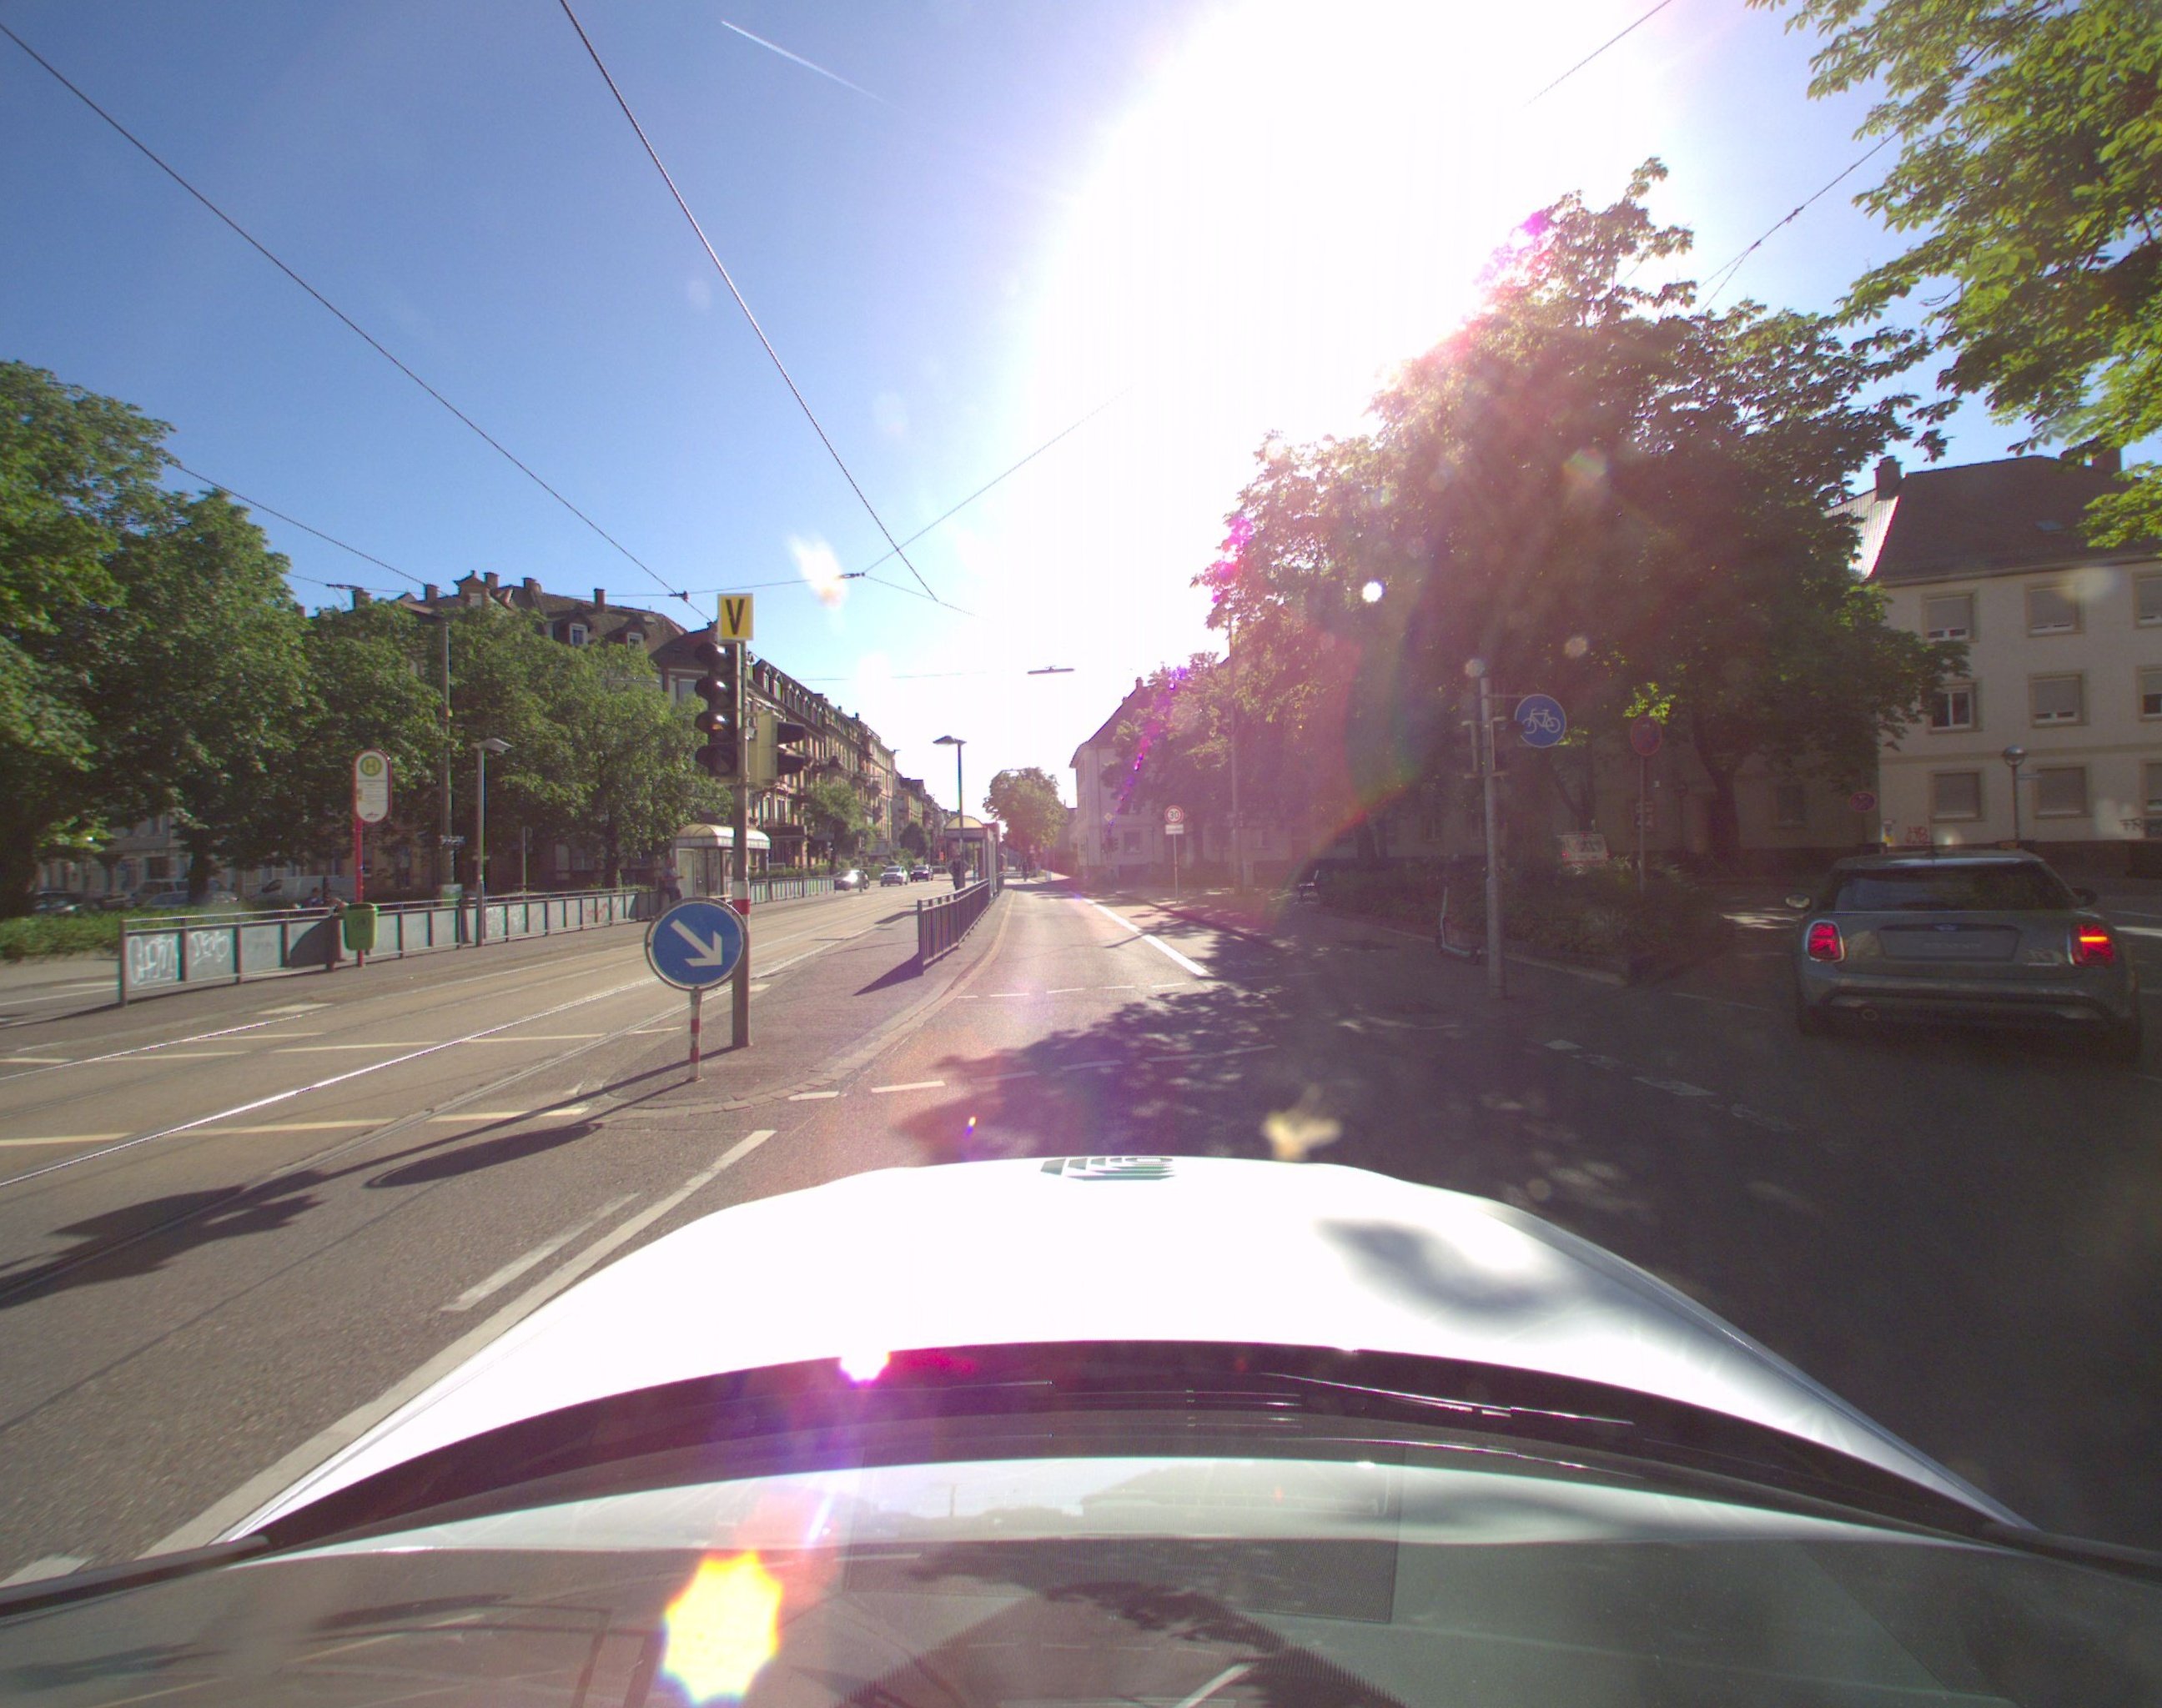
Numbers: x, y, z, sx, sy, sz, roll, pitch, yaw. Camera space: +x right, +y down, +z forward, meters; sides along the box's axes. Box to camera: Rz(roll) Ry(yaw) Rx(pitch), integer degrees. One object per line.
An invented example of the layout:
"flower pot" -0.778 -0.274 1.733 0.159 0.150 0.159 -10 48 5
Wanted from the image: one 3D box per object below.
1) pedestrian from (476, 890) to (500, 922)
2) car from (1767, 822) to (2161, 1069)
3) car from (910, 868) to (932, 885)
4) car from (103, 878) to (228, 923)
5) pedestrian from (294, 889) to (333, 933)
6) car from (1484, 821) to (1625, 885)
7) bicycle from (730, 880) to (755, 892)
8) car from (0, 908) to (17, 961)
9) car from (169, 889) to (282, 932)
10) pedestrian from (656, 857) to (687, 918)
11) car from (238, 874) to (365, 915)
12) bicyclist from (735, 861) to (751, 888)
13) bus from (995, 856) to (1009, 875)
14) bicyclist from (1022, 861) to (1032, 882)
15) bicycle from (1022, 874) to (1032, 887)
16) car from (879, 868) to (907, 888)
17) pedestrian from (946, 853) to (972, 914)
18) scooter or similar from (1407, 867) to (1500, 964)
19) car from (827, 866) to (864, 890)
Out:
"pedestrian" -23.423 2.050 32.167 0.608 1.202 0.575 -2 -1 -21
"car" 7.304 0.592 6.992 1.799 1.488 4.023 -2 -2 45
"car" -15.944 2.219 81.144 1.773 1.618 3.992 -1 -1 -5
"car" -42.598 2.141 37.921 4.540 2.014 2.008 -1 -2 15
"pedestrian" -22.166 1.647 23.534 0.608 1.202 0.575 -2 -1 -21
"car" 17.819 0.019 31.000 2.115 2.208 4.934 -1 -1 -6
"bicycle" -21.280 2.014 51.240 0.717 0.750 1.916 -1 -1 0
"car" -30.002 2.246 20.548 1.752 1.431 3.978 -2 0 -16
"car" -34.802 2.258 33.268 1.756 1.431 3.968 -2 0 -24
"pedestrian" -12.302 1.006 24.467 0.605 1.795 0.578 -2 -1 -6
"car" -39.528 2.050 41.361 4.983 2.014 2.005 -1 -2 9
"bicyclist" -21.281 1.282 51.259 0.711 1.665 0.734 -1 -2 0
"bus" -14.681 2.187 151.409 2.382 3.497 7.367 0 -1 -6
"bicyclist" -4.696 1.532 70.337 0.816 1.811 1.057 -1 -2 -5
"bicycle" -4.689 2.290 70.367 0.840 1.156 2.535 -1 -1 -4
"car" -15.419 1.952 66.968 1.773 1.618 3.992 -1 -1 -5
"pedestrian" -4.138 0.989 27.561 0.794 2.014 0.739 -1 -2 -4
"scooter or similar" 5.348 0.850 11.772 0.674 1.310 1.327 -1 -2 -3
"car" -16.541 1.675 57.454 1.773 1.618 3.992 -1 -1 -5
